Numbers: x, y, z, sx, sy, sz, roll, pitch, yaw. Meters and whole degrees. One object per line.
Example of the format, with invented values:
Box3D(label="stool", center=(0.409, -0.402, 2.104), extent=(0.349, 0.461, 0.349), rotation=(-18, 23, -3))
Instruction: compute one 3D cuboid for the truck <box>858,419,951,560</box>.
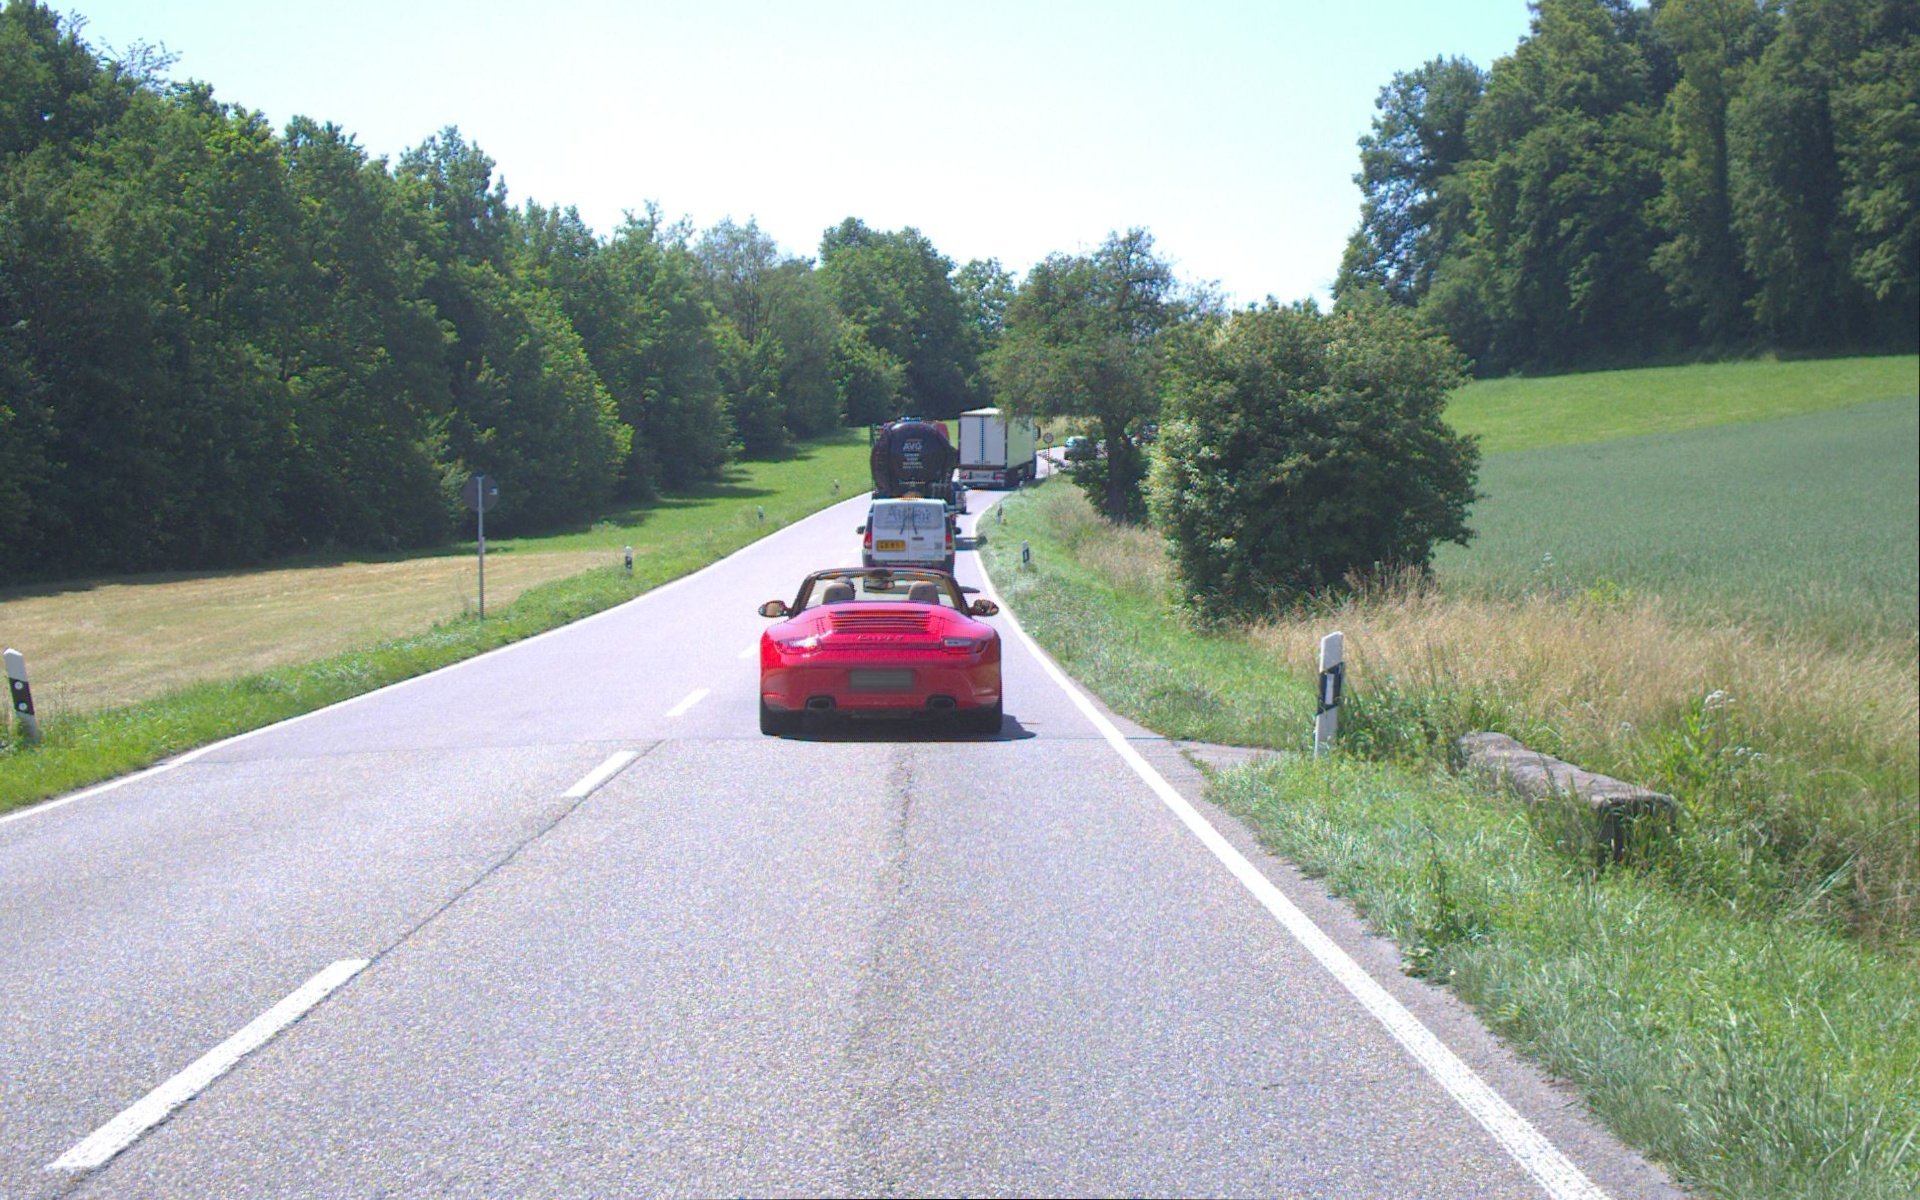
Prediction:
Box3D(label="truck", center=(-1.674, -3.585, 108.328), extent=(2.404, 4.035, 12.552), rotation=(-3, 3, 1))

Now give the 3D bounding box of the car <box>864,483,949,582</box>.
Box3D(label="car", center=(-1.105, -1.438, 71.573), extent=(1.678, 1.894, 4.010), rotation=(-2, 3, -1))

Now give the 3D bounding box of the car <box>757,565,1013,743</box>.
Box3D(label="car", center=(-0.578, 0.376, 27.312), extent=(1.882, 1.250, 4.010), rotation=(0, 1, -1))

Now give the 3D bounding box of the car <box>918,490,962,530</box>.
Box3D(label="car", center=(-0.847, -3.937, 149.812), extent=(1.831, 1.508, 4.191), rotation=(-2, 4, 0))

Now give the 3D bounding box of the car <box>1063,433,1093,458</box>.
Box3D(label="car", center=(7.673, -10.070, 223.720), extent=(1.697, 1.491, 3.712), rotation=(-3, 3, 0))

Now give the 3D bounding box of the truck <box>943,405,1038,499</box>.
Box3D(label="truck", center=(1.736, -8.131, 187.102), extent=(3.726, 4.643, 12.030), rotation=(0, 4, 7))
